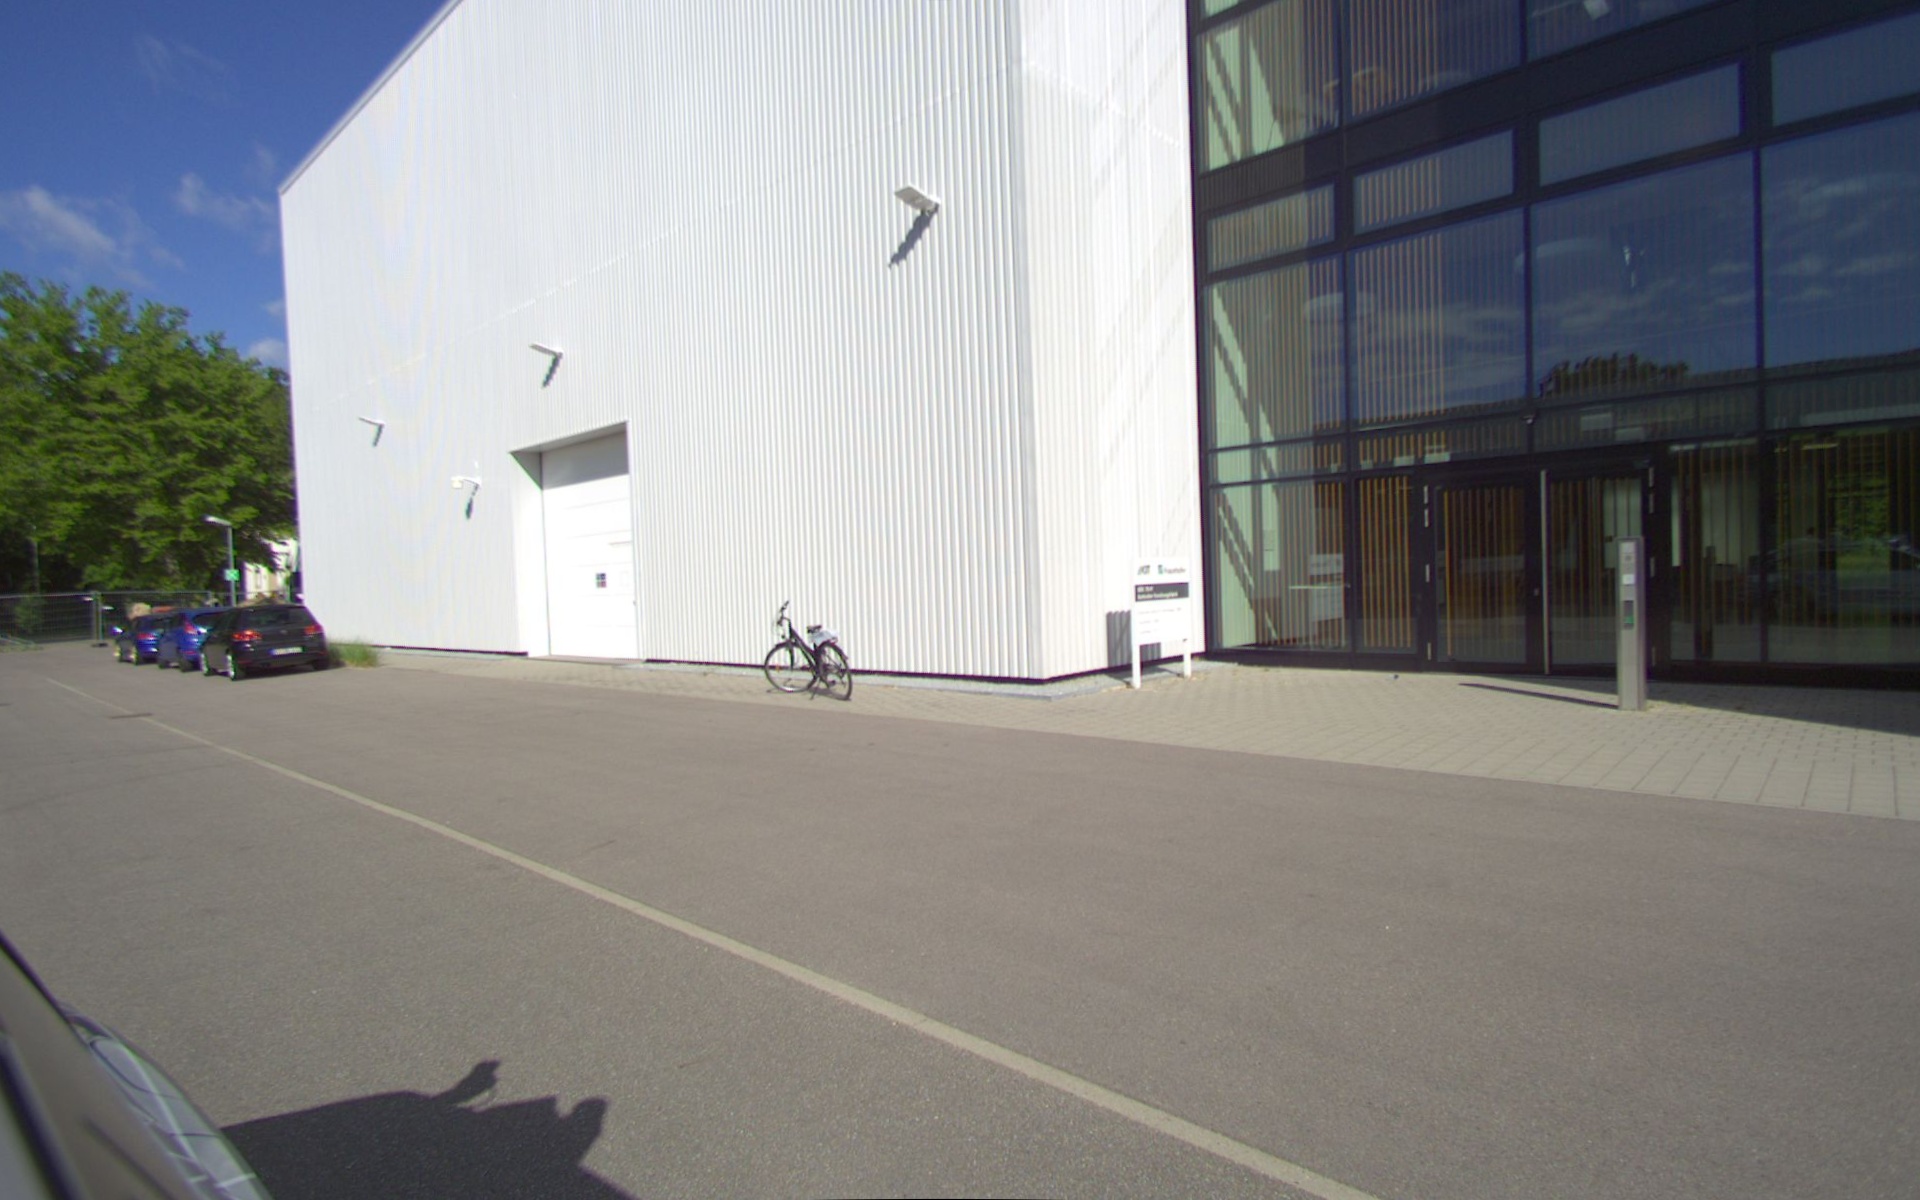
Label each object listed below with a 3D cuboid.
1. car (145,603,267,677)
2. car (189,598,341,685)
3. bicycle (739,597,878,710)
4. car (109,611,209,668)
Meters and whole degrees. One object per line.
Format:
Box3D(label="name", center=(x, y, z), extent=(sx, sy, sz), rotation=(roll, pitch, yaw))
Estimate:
Box3D(label="car", center=(-18.741, 0.941, 25.086), extent=(4.002, 1.533, 1.766), rotation=(-1, 4, 45))
Box3D(label="car", center=(-14.860, 0.828, 21.554), extent=(4.002, 1.533, 1.870), rotation=(-1, 4, 45))
Box3D(label="bicycle", center=(-1.862, 0.587, 12.172), extent=(0.895, 1.151, 1.905), rotation=(-6, 4, -32))
Box3D(label="car", center=(-22.819, 1.080, 28.776), extent=(4.002, 1.451, 1.765), rotation=(-1, 1, 45))
